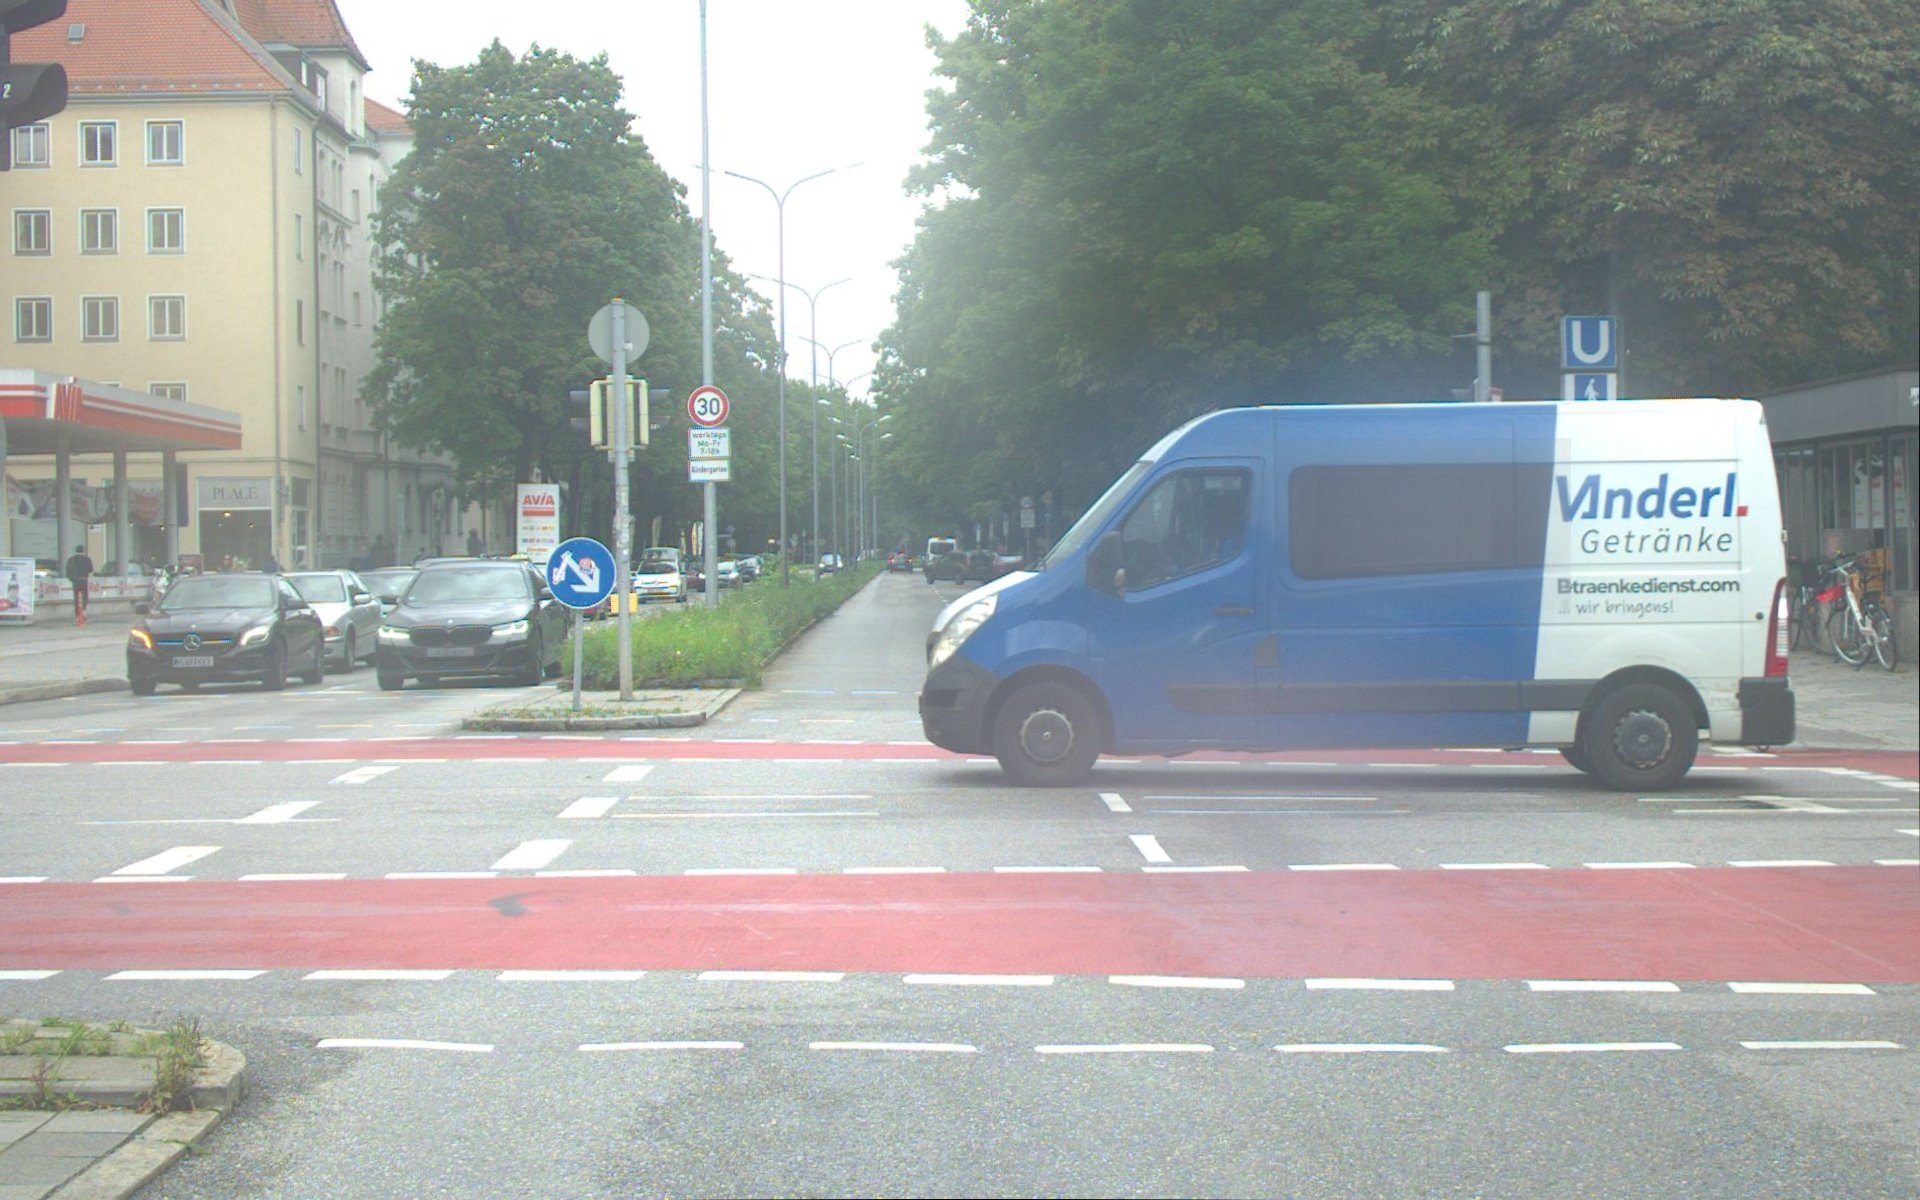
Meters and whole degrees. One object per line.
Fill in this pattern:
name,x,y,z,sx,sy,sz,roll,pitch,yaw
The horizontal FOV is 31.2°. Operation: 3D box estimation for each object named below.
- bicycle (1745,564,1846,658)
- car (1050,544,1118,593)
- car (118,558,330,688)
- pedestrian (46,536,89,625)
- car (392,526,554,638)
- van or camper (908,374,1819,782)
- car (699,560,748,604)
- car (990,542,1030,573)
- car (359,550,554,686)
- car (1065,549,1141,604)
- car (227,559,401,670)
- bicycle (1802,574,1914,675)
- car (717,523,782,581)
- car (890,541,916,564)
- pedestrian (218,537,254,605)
bicycle,9.416,0.108,38.811,0.556,1.011,2.016,-1,1,-3
car,3.579,-0.921,99.714,1.743,1.358,3.807,-1,1,-1
car,-8.839,0.243,41.557,1.759,1.455,4.000,-1,1,-1
pedestrian,-20.398,-0.445,78.607,0.730,2.007,0.834,1,0,-1
car,-6.780,-0.277,48.202,1.759,1.488,4.000,-1,1,-1
van or camper,2.523,-0.144,22.174,5.553,2.461,2.067,0,1,4
car,-10.257,-0.797,149.079,1.952,1.817,4.000,-1,1,-2
car,2.344,-2.022,161.527,1.743,1.422,3.899,-1,1,-1
car,-5.852,0.172,40.340,1.759,1.488,4.000,-1,1,-1
car,3.711,-0.630,89.652,1.743,1.358,3.807,-1,1,-1
car,-9.054,0.176,48.466,1.759,1.455,4.000,-1,1,-1
bicycle,9.406,0.243,36.079,0.556,1.011,2.016,-1,1,-3
car,-5.216,-1.191,85.468,1.468,1.394,3.700,-1,1,-1
car,-4.173,-3.505,252.739,1.857,1.678,4.000,-1,1,-1
pedestrian,-17.542,-0.706,83.296,0.696,1.632,0.738,-1,1,-1
